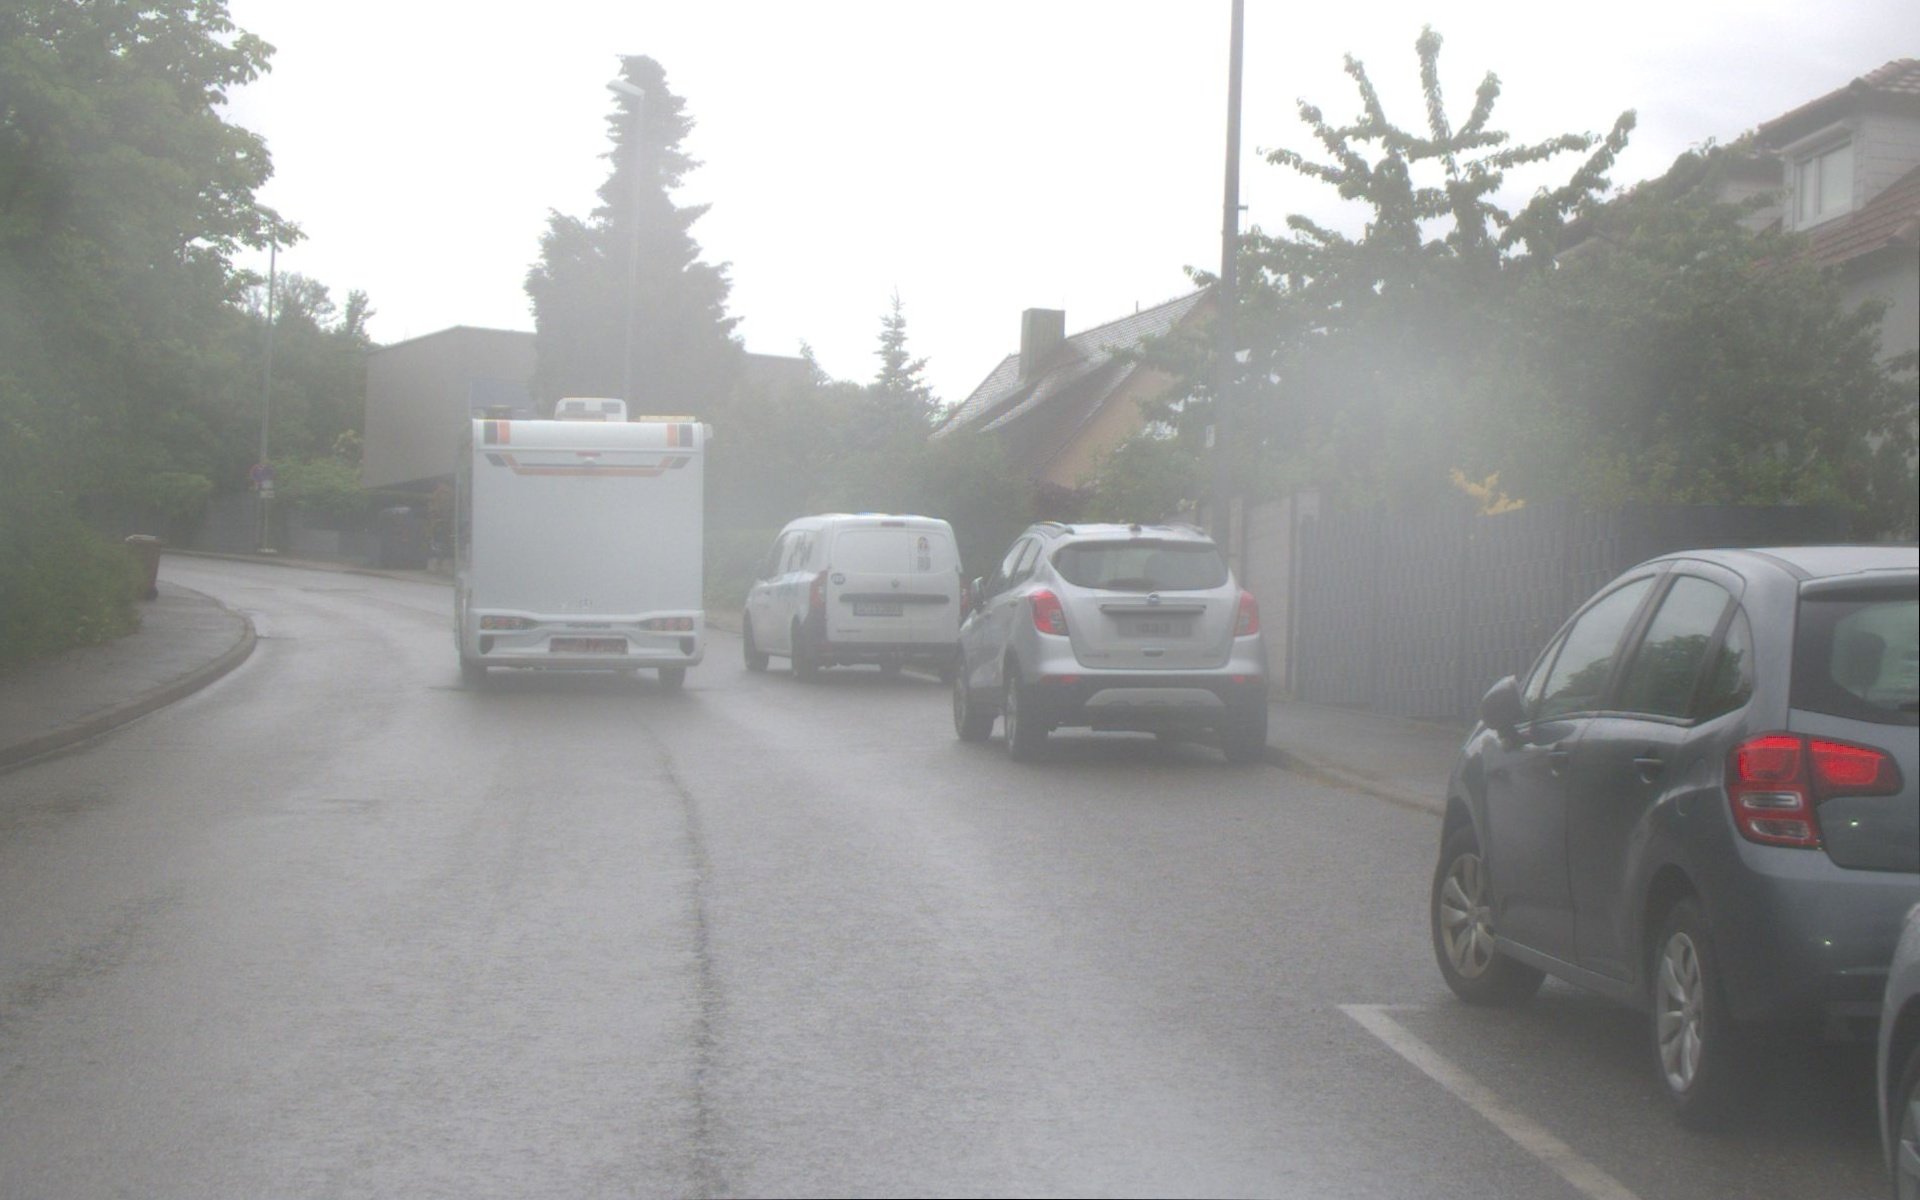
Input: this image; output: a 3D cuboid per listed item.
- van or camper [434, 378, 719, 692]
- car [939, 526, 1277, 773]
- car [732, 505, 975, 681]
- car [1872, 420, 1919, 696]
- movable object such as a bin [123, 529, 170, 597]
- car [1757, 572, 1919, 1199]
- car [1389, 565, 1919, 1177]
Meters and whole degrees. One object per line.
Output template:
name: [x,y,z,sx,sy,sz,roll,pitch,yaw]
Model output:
van or camper: [-4.073,-0.643,35.481,2.539,2.915,5.949,1,1,-10]
car: [0.978,0.290,25.058,1.804,1.621,4.289,-1,1,-6]
car: [-1.250,-0.099,37.877,1.778,1.797,4.709,1,1,-13]
car: [7.480,-0.188,19.603,3.986,1.584,1.935,2,-1,-1]
movable object such as a bin: [-14.187,-0.646,59.956,0.694,1.086,0.803,4,4,-11]
car: [2.696,0.701,5.353,1.768,1.462,4.235,-1,1,-2]
car: [2.506,0.647,10.386,1.659,1.462,3.764,-1,1,-5]
